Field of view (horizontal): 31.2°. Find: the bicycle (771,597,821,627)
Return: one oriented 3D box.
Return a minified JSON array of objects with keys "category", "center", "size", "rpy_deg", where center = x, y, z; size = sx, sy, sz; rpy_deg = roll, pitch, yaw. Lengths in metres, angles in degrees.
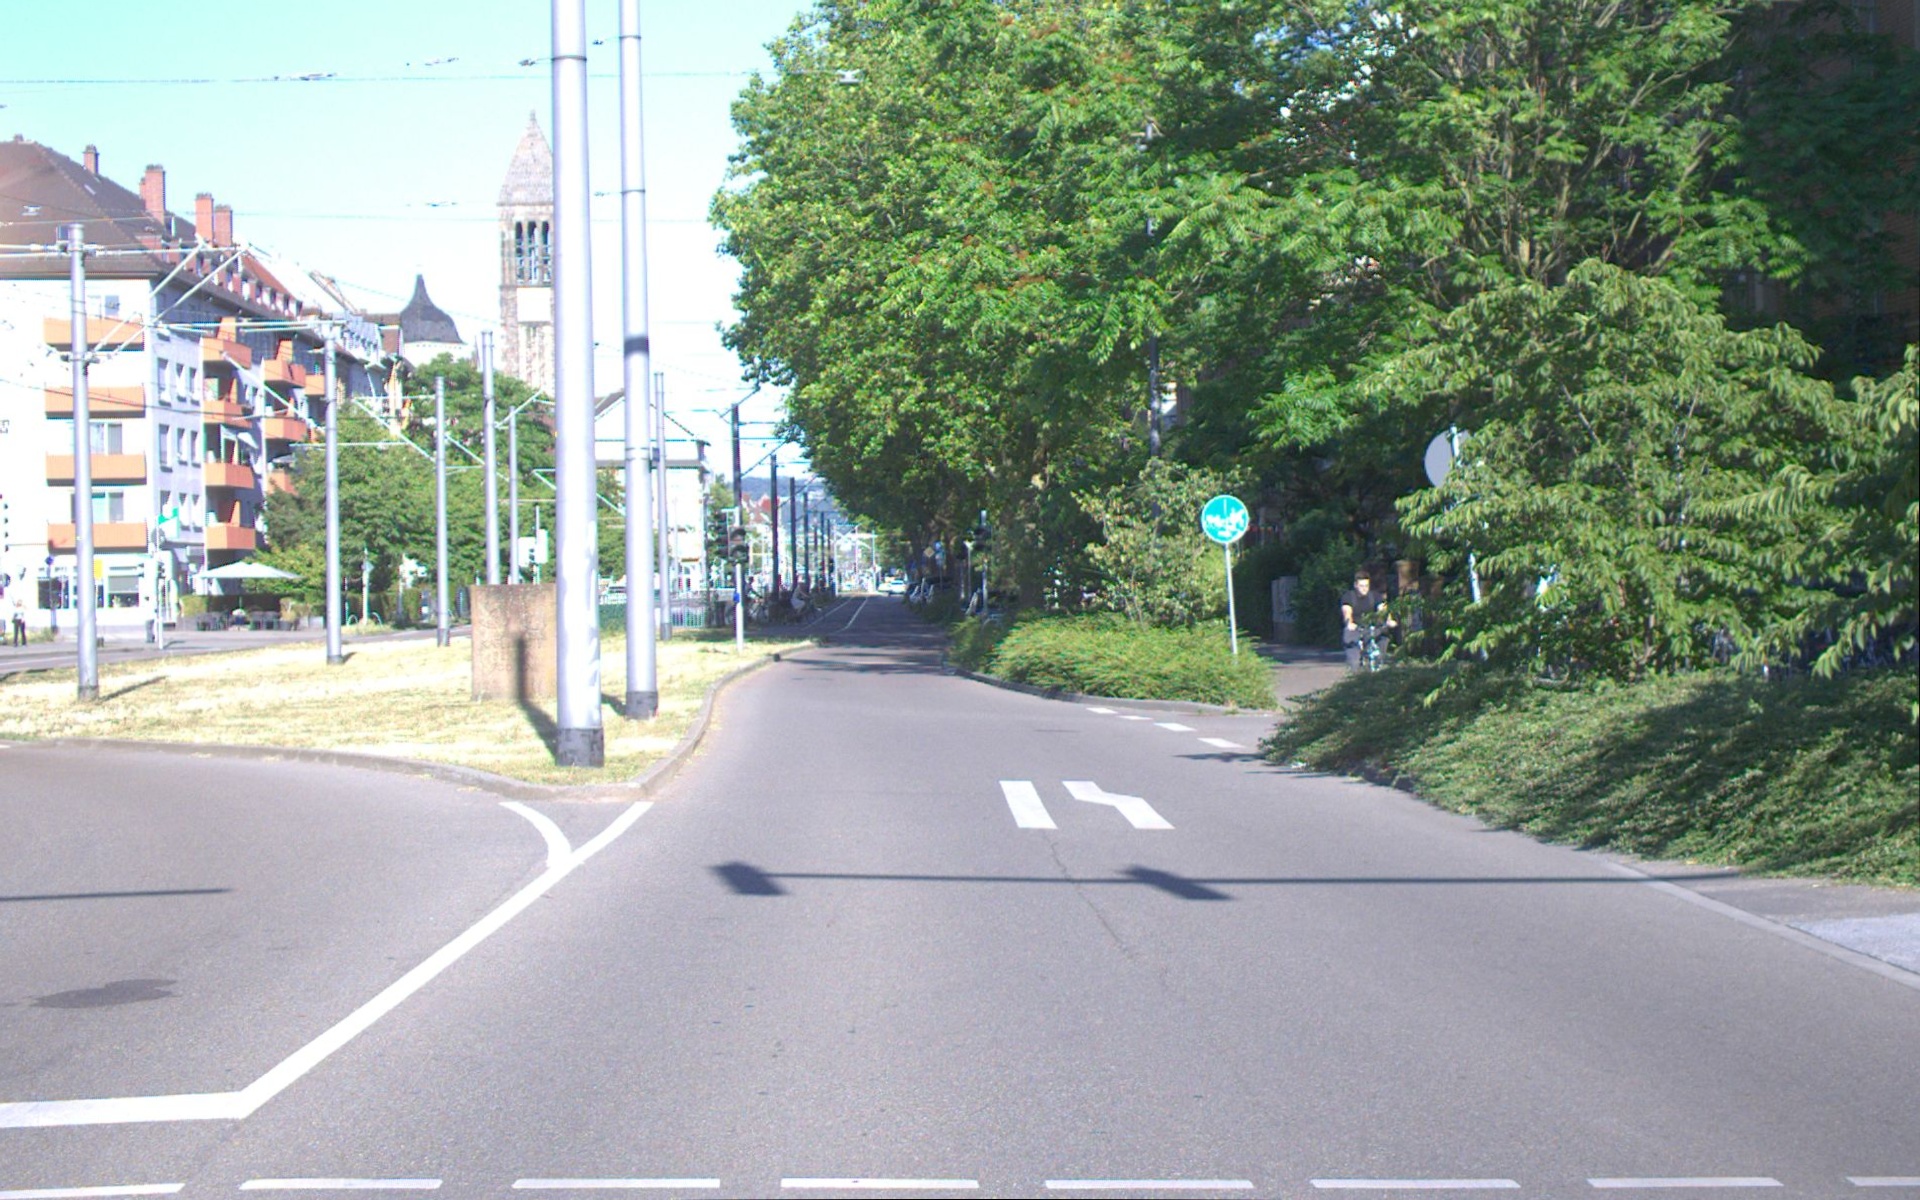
[{"category":"bicycle","center":[-6.228,0.463,130.762],"size":[1.814,1.044,0.573],"rpy_deg":[-3,3,-9]}]

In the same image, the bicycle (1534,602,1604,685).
[{"category":"bicycle","center":[8.172,0.570,46.155],"size":[0.525,0.985,1.722],"rpy_deg":[-2,3,-3]}]

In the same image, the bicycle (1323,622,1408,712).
[{"category":"bicycle","center":[4.897,0.802,41.621],"size":[0.641,1.044,2.360],"rpy_deg":[-2,-1,-2]}]

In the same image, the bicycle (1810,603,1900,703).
[{"category":"bicycle","center":[10.641,0.616,40.923],"size":[0.517,1.044,1.821],"rpy_deg":[-2,3,-2]}]

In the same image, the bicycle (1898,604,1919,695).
[{"category":"bicycle","center":[11.723,0.617,40.972],"size":[0.517,1.044,1.821],"rpy_deg":[-2,3,-2]}]

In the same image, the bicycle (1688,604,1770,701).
[{"category":"bicycle","center":[9.371,0.629,41.945],"size":[0.517,1.044,1.821],"rpy_deg":[-2,3,-2]}]

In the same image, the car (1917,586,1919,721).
[{"category":"car","center":[12.129,0.543,34.972],"size":[4.250,1.410,1.813],"rpy_deg":[-2,3,-1]}]

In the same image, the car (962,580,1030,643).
[{"category":"car","center":[0.914,0.287,89.271],"size":[1.643,1.506,4.183],"rpy_deg":[-2,1,-1]}]

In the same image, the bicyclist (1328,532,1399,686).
[{"category":"bicyclist","center":[4.879,0.115,41.618],"size":[0.641,1.808,1.052],"rpy_deg":[-2,-1,-2]}]

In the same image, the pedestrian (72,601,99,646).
[{"category":"pedestrian","center":[-29.311,0.797,115.218],"size":[0.688,1.462,0.591],"rpy_deg":[-2,3,3]}]

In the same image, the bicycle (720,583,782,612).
[{"category":"bicycle","center":[-7.777,-0.092,128.053],"size":[2.241,0.972,0.682],"rpy_deg":[-1,3,-2]}]

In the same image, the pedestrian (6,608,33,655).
[{"category":"pedestrian","center":[-31.326,1.043,114.501],"size":[0.589,1.462,0.916],"rpy_deg":[-2,3,-1]}]

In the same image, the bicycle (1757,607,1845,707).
[{"category":"bicycle","center":[10.000,0.662,40.908],"size":[0.517,1.044,1.821],"rpy_deg":[-2,3,-2]}]

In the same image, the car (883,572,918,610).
[{"category":"car","center":[-3.426,-0.506,198.817],"size":[1.993,2.100,4.000],"rpy_deg":[1,-1,-1]}]

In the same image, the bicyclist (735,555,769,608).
[{"category":"bicyclist","center":[-7.740,-0.688,128.033],"size":[1.141,1.884,0.682],"rpy_deg":[-2,3,-1]}]

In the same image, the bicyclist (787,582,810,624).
[{"category":"bicyclist","center":[-6.144,0.111,130.767],"size":[0.749,1.552,0.573],"rpy_deg":[-3,3,-9]}]

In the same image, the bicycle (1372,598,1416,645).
[{"category":"bicycle","center":[8.356,0.415,66.200],"size":[0.768,0.851,0.375],"rpy_deg":[-2,3,-4]}]

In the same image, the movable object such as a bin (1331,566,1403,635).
[{"category":"movable object such as a bin","center":[8.365,0.006,70.689],"size":[1.232,1.378,1.257],"rpy_deg":[-2,0,-2]}]

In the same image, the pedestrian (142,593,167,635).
[{"category":"pedestrian","center":[-29.405,0.495,125.512],"size":[0.589,1.462,0.916],"rpy_deg":[-4,3,-31]}]

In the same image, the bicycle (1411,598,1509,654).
[{"category":"bicycle","center":[9.030,0.471,62.104],"size":[1.652,0.921,0.539],"rpy_deg":[-2,3,0]}]

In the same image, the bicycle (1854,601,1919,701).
[{"category":"bicycle","center":[11.190,0.595,40.955],"size":[0.517,1.044,1.821],"rpy_deg":[-2,3,-2]}]

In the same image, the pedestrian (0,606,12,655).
[{"category":"pedestrian","center":[-32.033,1.018,114.430],"size":[0.644,1.593,0.898],"rpy_deg":[-2,3,-1]}]
